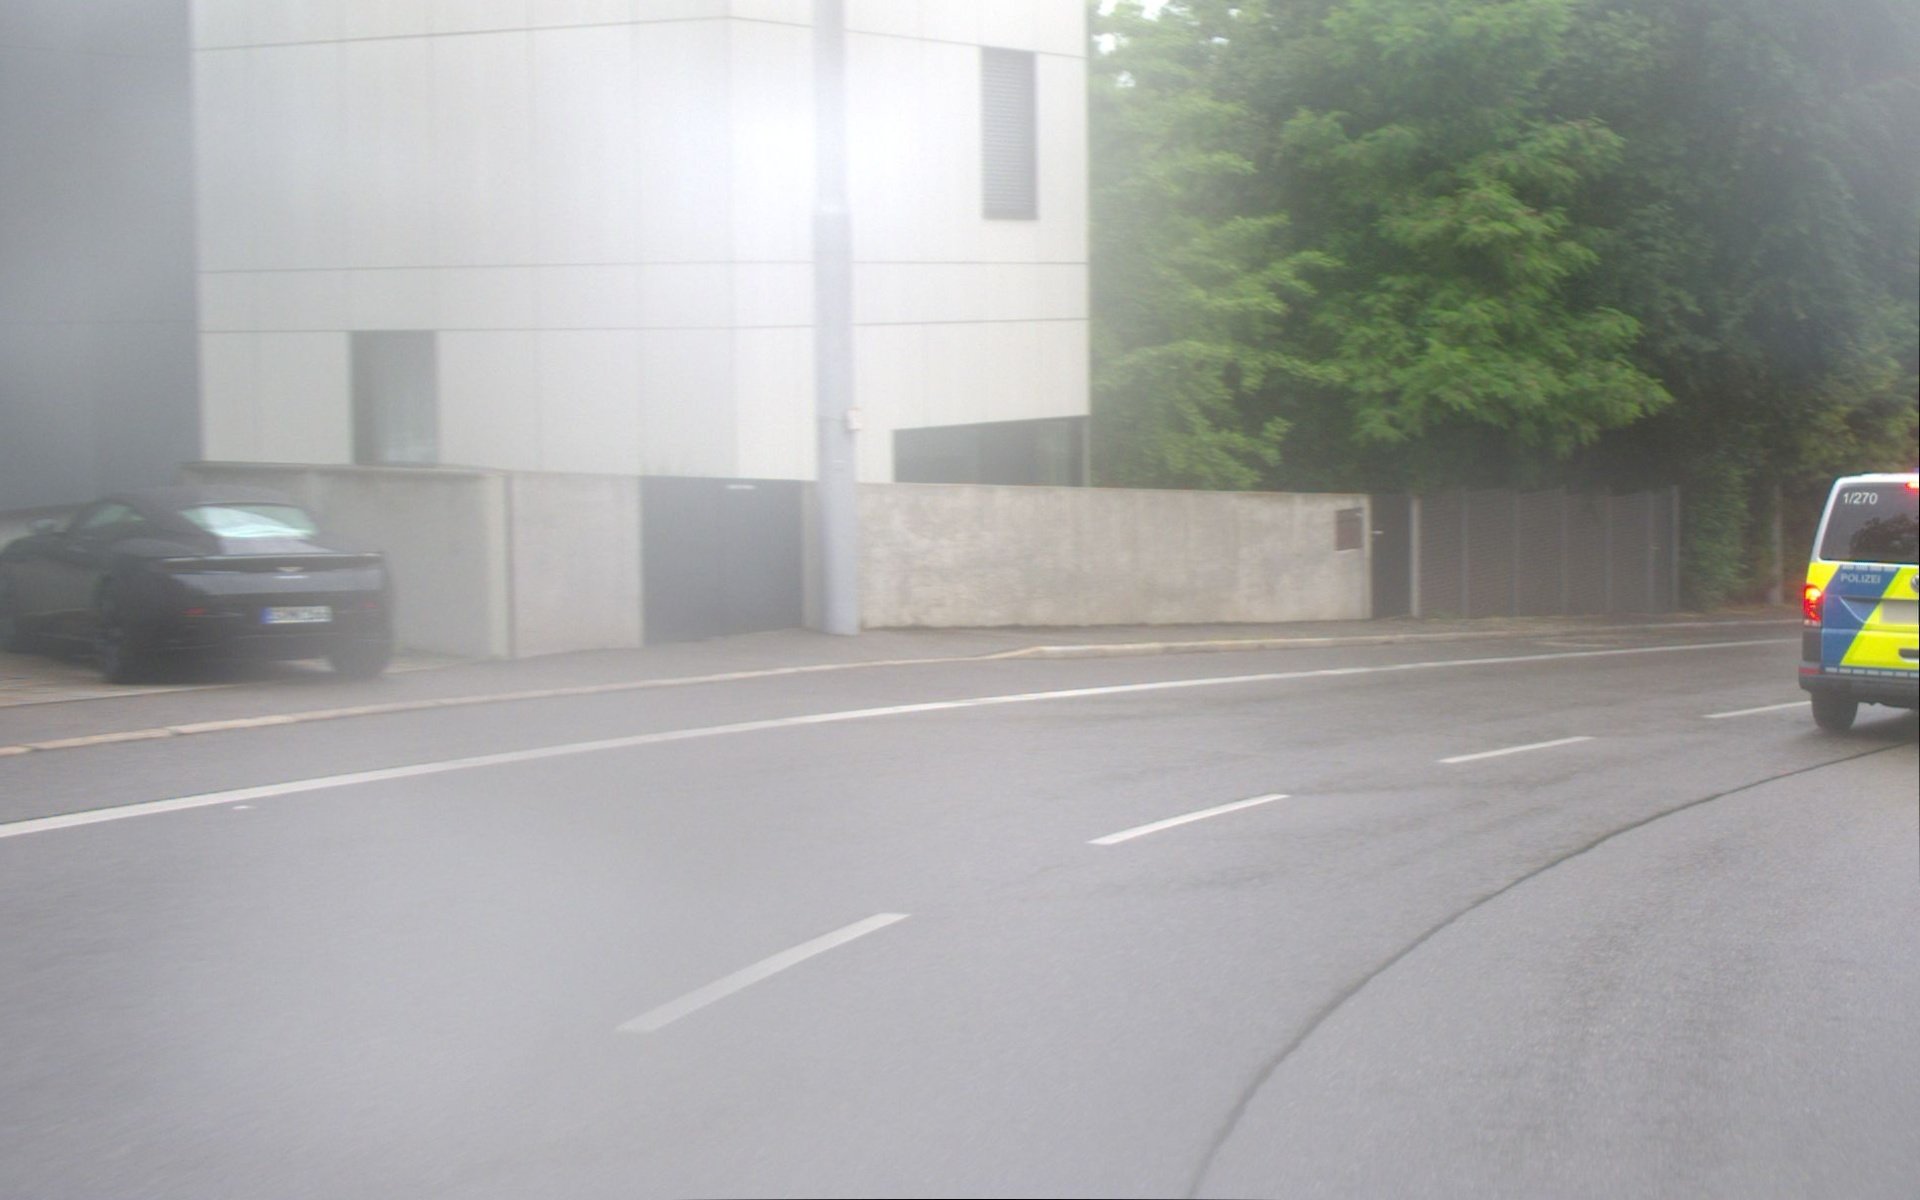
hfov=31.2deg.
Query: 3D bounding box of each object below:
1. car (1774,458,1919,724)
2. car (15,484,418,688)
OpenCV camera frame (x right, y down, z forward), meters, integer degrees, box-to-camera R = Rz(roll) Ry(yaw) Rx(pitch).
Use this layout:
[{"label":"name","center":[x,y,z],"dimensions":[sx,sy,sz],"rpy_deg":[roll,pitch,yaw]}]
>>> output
[{"label":"car","center":[7.879,-0.070,26.405],"dimensions":[1.997,1.887,4.563],"rpy_deg":[0,0,29]},{"label":"car","center":[-5.387,-0.154,24.537],"dimensions":[1.891,1.296,4.001],"rpy_deg":[0,2,-26]}]
